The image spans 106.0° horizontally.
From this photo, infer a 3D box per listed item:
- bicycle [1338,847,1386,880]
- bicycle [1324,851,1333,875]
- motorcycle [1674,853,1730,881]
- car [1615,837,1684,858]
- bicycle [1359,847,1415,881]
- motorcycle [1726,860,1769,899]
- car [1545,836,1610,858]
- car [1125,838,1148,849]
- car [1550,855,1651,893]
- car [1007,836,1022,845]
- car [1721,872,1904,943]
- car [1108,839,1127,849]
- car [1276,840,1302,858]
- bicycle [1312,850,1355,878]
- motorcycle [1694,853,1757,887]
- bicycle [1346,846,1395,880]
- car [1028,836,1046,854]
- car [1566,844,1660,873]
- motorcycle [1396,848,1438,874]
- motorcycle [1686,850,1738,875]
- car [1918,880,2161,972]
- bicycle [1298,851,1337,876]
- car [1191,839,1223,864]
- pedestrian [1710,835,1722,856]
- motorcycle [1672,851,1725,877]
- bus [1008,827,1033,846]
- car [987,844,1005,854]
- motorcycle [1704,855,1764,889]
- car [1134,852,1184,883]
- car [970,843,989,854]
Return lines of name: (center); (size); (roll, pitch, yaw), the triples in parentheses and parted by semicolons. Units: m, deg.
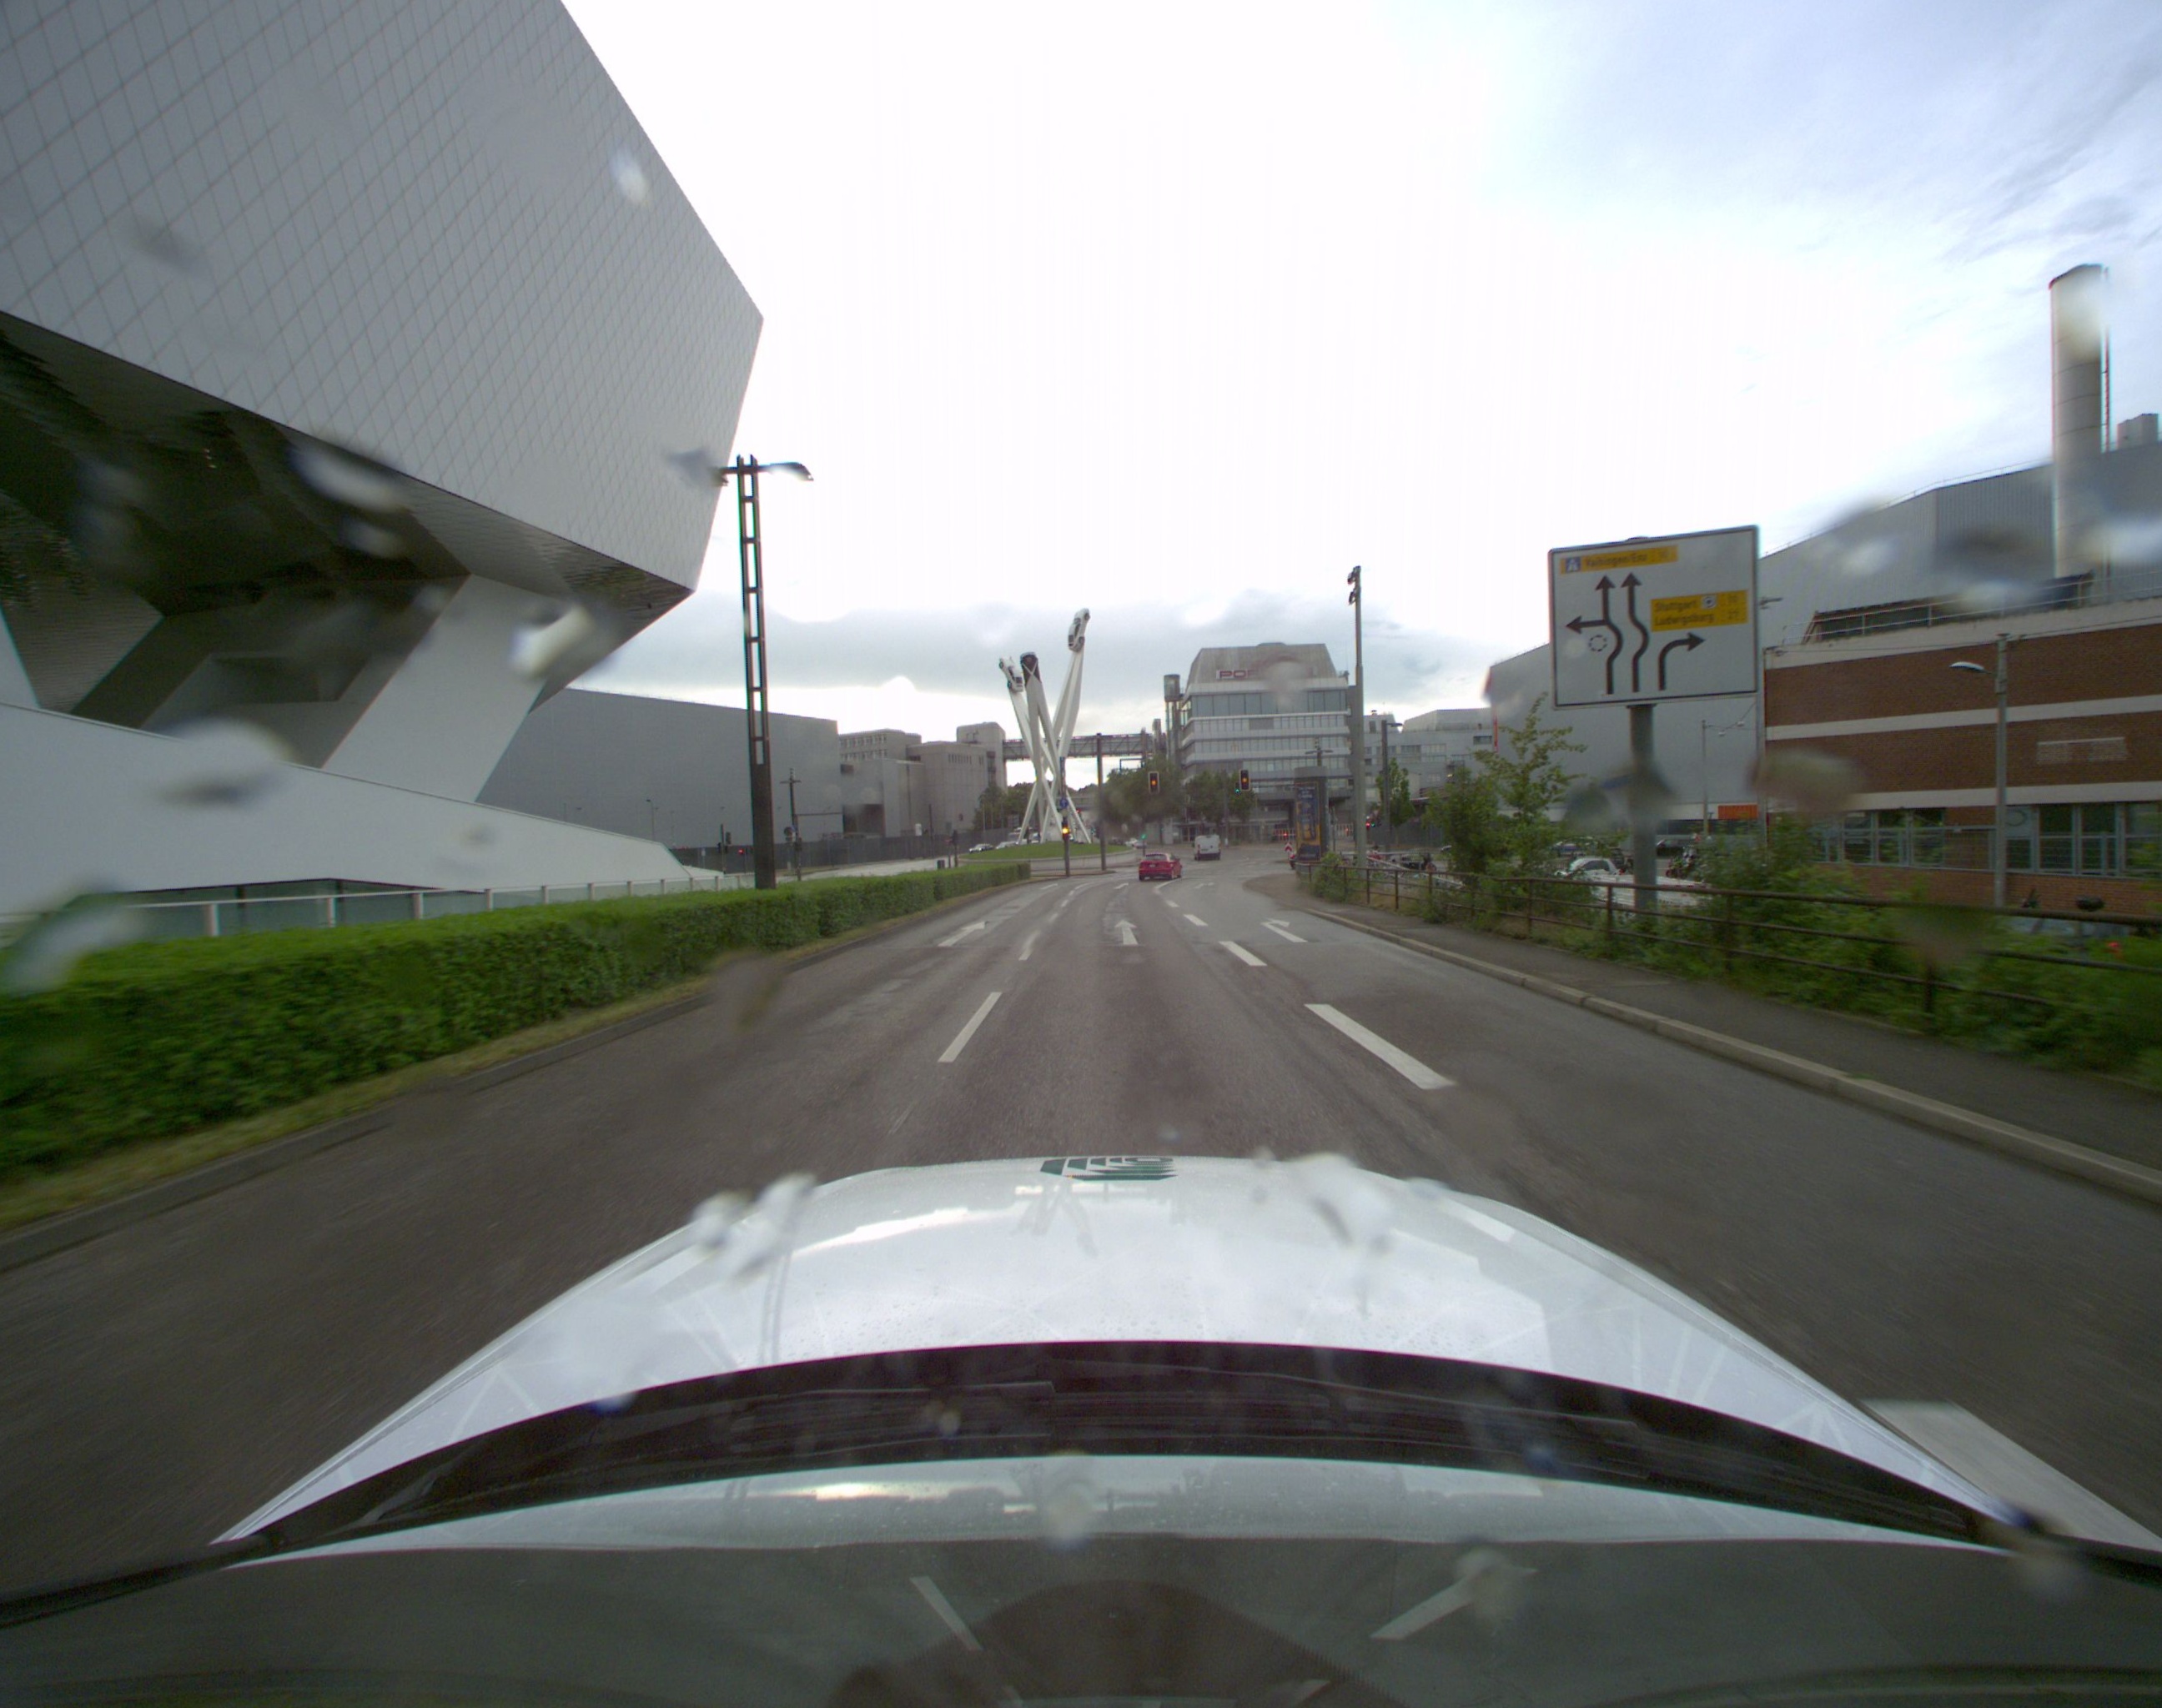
bicycle: (11.122, 0.359, 32.202); (1.937, 1.224, 0.594); (-2, 0, -27)
bicycle: (12.691, 0.453, 41.760); (0.382, 1.162, 2.009); (-2, -1, 16)
motorcycle: (29.209, 0.604, 38.355); (1.996, 1.190, 0.614); (-4, 2, 33)
car: (41.391, -0.482, 59.339); (3.950, 1.392, 1.768); (1, 3, 43)
bicycle: (11.506, 0.352, 30.608); (1.929, 1.178, 0.596); (-3, 0, -15)
motorcycle: (26.213, 0.982, 32.061); (0.917, 1.309, 1.998); (-4, 2, 30)
car: (38.081, -0.561, 62.535); (3.931, 1.601, 1.923); (0, 2, 43)
car: (7.420, -1.341, 109.080); (1.673, 1.301, 3.859); (-2, 0, -21)
car: (23.649, 0.894, 37.186); (3.525, 1.481, 1.700); (-2, 3, 13)
car: (-10.958, -2.239, 133.803); (1.825, 1.472, 4.518); (-2, 1, 3)
car: (21.647, 1.518, 24.384); (1.692, 1.609, 4.266); (0, 3, 1)
car: (4.809, -1.299, 107.910); (1.560, 1.288, 3.395); (-2, 0, -15)
car: (16.113, -0.366, 62.907); (1.597, 1.291, 3.584); (-2, 0, 19)
bicycle: (11.685, 0.461, 37.740); (1.792, 1.161, 0.592); (-3, -1, 4)
motorcycle: (28.094, 0.691, 35.511); (2.001, 1.309, 0.691); (-4, 1, 15)
bicycle: (11.181, 0.352, 31.465); (1.938, 1.224, 0.594); (-2, 0, -29)
car: (-6.276, -1.314, 116.968); (1.985, 2.447, 5.431); (-2, 1, 3)
car: (30.049, 0.226, 46.138); (1.837, 1.530, 4.136); (0, 0, -21)
motorcycle: (19.831, 0.407, 48.090); (2.208, 1.452, 0.761); (-1, 1, 24)
motorcycle: (32.225, 0.437, 41.612); (0.610, 1.190, 2.008); (-5, 2, -22)
car: (21.478, 1.490, 18.145); (1.692, 1.628, 3.932); (-2, 1, 1)
bicycle: (11.777, 0.478, 40.585); (1.759, 1.140, 0.680); (-2, -1, 8)
car: (11.511, -0.224, 74.771); (2.224, 2.107, 4.957); (-2, 0, 2)
pedestrian: (47.034, -0.634, 60.305); (0.441, 1.481, 0.642); (-2, 1, -43)
motorcycle: (30.477, 0.500, 40.203); (1.997, 1.190, 0.613); (-3, 2, 43)
bus: (-11.261, -3.240, 152.161); (2.657, 3.200, 12.685); (-2, 1, 4)
car: (-12.699, -0.783, 122.037); (1.825, 1.472, 4.518); (-2, 1, 3)
motorcycle: (27.582, 0.757, 34.412); (1.850, 1.309, 0.576); (-4, 1, 19)
car: (4.137, 0.671, 42.576); (1.758, 1.464, 3.750); (-2, 0, 18)
car: (-14.163, -0.808, 113.758); (1.825, 1.472, 4.518); (-2, 1, 3)
